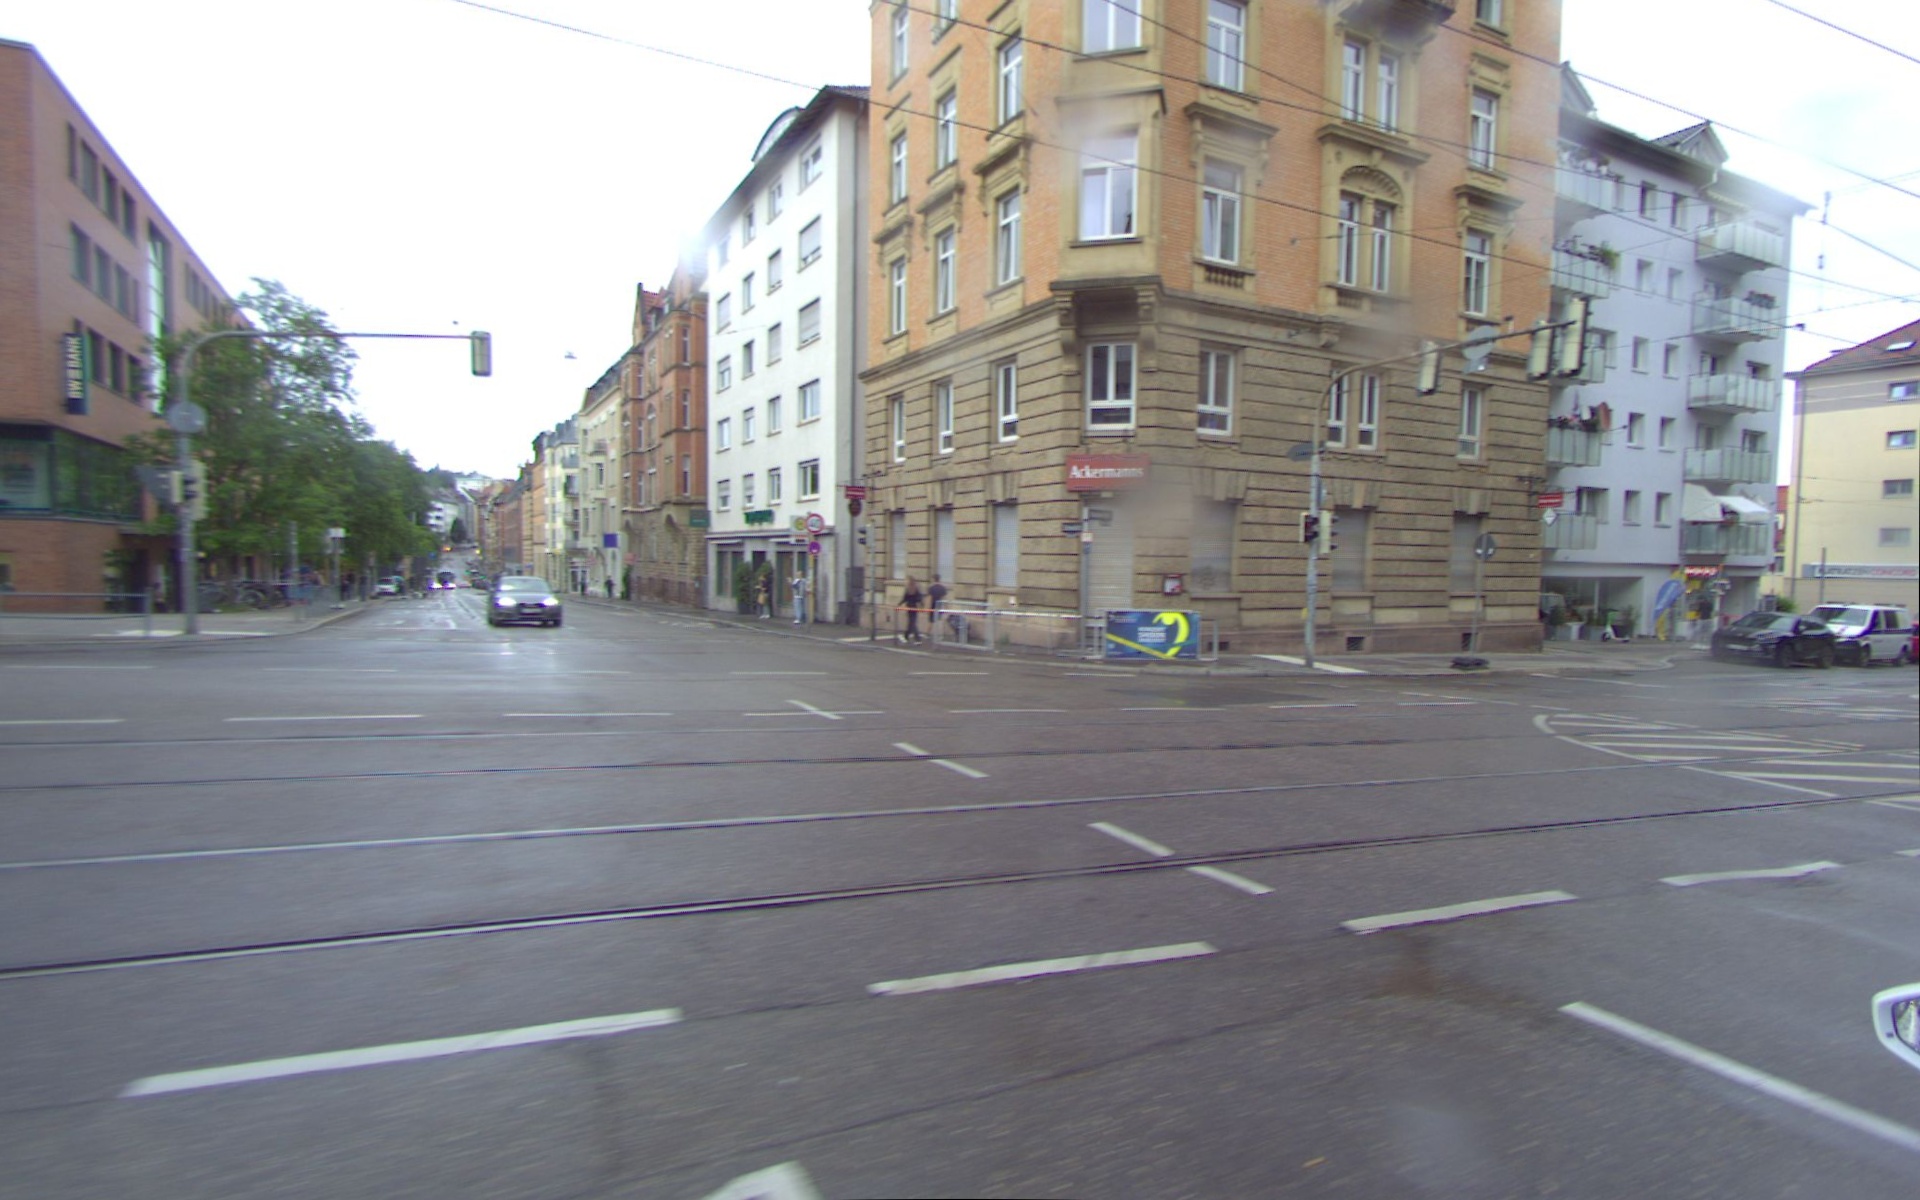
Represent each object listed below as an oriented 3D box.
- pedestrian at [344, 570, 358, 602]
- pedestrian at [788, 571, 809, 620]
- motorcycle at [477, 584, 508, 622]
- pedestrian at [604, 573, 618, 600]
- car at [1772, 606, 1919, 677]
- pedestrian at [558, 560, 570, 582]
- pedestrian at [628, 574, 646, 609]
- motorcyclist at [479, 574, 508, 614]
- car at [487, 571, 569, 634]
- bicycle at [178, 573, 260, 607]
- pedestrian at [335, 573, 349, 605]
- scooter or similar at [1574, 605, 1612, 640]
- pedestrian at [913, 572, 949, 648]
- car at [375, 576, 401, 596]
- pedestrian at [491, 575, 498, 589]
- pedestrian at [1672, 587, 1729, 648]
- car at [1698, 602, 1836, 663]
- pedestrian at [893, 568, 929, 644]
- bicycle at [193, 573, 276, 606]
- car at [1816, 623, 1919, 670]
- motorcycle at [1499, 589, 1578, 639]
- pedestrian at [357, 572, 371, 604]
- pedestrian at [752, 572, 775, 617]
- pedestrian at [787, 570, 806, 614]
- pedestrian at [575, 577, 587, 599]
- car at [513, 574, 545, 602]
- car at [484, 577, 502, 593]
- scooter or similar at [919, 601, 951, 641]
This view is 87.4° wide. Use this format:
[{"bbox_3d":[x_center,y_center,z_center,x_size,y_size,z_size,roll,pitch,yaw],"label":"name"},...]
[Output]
[{"bbox_3d":[-31.699,-0.718,52.246,0.568,1.651,0.569,1,2,-30],"label":"pedestrian"},{"bbox_3d":[-5.671,-0.175,35.254,0.587,1.690,0.599,2,1,-19],"label":"pedestrian"},{"bbox_3d":[-15.649,0.080,33.634,0.855,1.174,1.838,2,1,-27],"label":"motorcycle"},{"bbox_3d":[-24.581,-0.954,70.783,0.804,1.861,0.763,1,1,-30],"label":"pedestrian"},{"bbox_3d":[29.677,1.350,33.521,5.237,2.036,2.060,1,4,-29],"label":"car"},{"bbox_3d":[-34.646,-2.548,87.916,0.804,1.861,0.763,1,1,-30],"label":"pedestrian"},{"bbox_3d":[-17.514,-0.462,54.462,0.804,1.861,0.763,1,1,-30],"label":"pedestrian"},{"bbox_3d":[-15.647,-0.202,33.675,0.831,1.320,0.809,2,1,-27],"label":"motorcyclist"},{"bbox_3d":[-12.770,0.053,29.545,1.819,1.688,3.969,1,0,-29],"label":"car"},{"bbox_3d":[-26.607,-0.353,36.103,2.345,1.116,0.692,1,2,-37],"label":"bicycle"},{"bbox_3d":[-32.790,-0.574,53.326,0.566,1.651,0.483,1,2,-28],"label":"pedestrian"},{"bbox_3d":[22.500,0.800,35.712,0.314,1.225,1.080,1,-2,-39],"label":"scooter or similar"},{"bbox_3d":[-0.728,0.256,25.272,0.616,1.864,0.639,2,1,29],"label":"pedestrian"},{"bbox_3d":[-48.204,-1.179,84.661,1.796,1.610,3.969,1,1,-29],"label":"car"},{"bbox_3d":[-61.197,-2.347,132.019,0.804,1.861,0.763,1,1,-30],"label":"pedestrian"},{"bbox_3d":[24.739,0.567,33.541,1.167,1.955,1.163,1,2,-36],"label":"pedestrian"},{"bbox_3d":[24.349,0.984,30.286,4.312,1.673,1.725,2,2,-30],"label":"car"},{"bbox_3d":[-1.192,0.135,24.212,0.632,1.791,0.623,-2,3,-27],"label":"pedestrian"},{"bbox_3d":[-26.767,-0.395,37.121,2.336,1.116,0.847,2,2,-26],"label":"bicycle"},{"bbox_3d":[33.605,1.704,36.115,3.902,1.453,1.786,3,1,5],"label":"car"},{"bbox_3d":[18.802,0.450,32.654,2.281,1.394,0.925,1,14,-29],"label":"motorcycle"},{"bbox_3d":[-31.371,-0.647,52.881,0.592,1.651,0.569,1,2,-30],"label":"pedestrian"},{"bbox_3d":[-7.654,-0.224,39.073,0.658,1.692,0.827,2,2,-25],"label":"pedestrian"},{"bbox_3d":[-5.877,-0.305,36.134,0.491,1.557,0.529,1,2,-25],"label":"pedestrian"},{"bbox_3d":[-31.834,-0.991,84.472,0.804,1.861,0.763,1,1,-30],"label":"pedestrian"},{"bbox_3d":[-29.609,-0.853,68.913,1.617,1.603,3.968,1,3,-29],"label":"car"},{"bbox_3d":[-45.893,-1.497,98.699,1.615,1.310,3.973,2,2,-25],"label":"car"},{"bbox_3d":[-0.625,0.518,25.234,0.545,0.958,0.577,2,1,31],"label":"scooter or similar"}]
